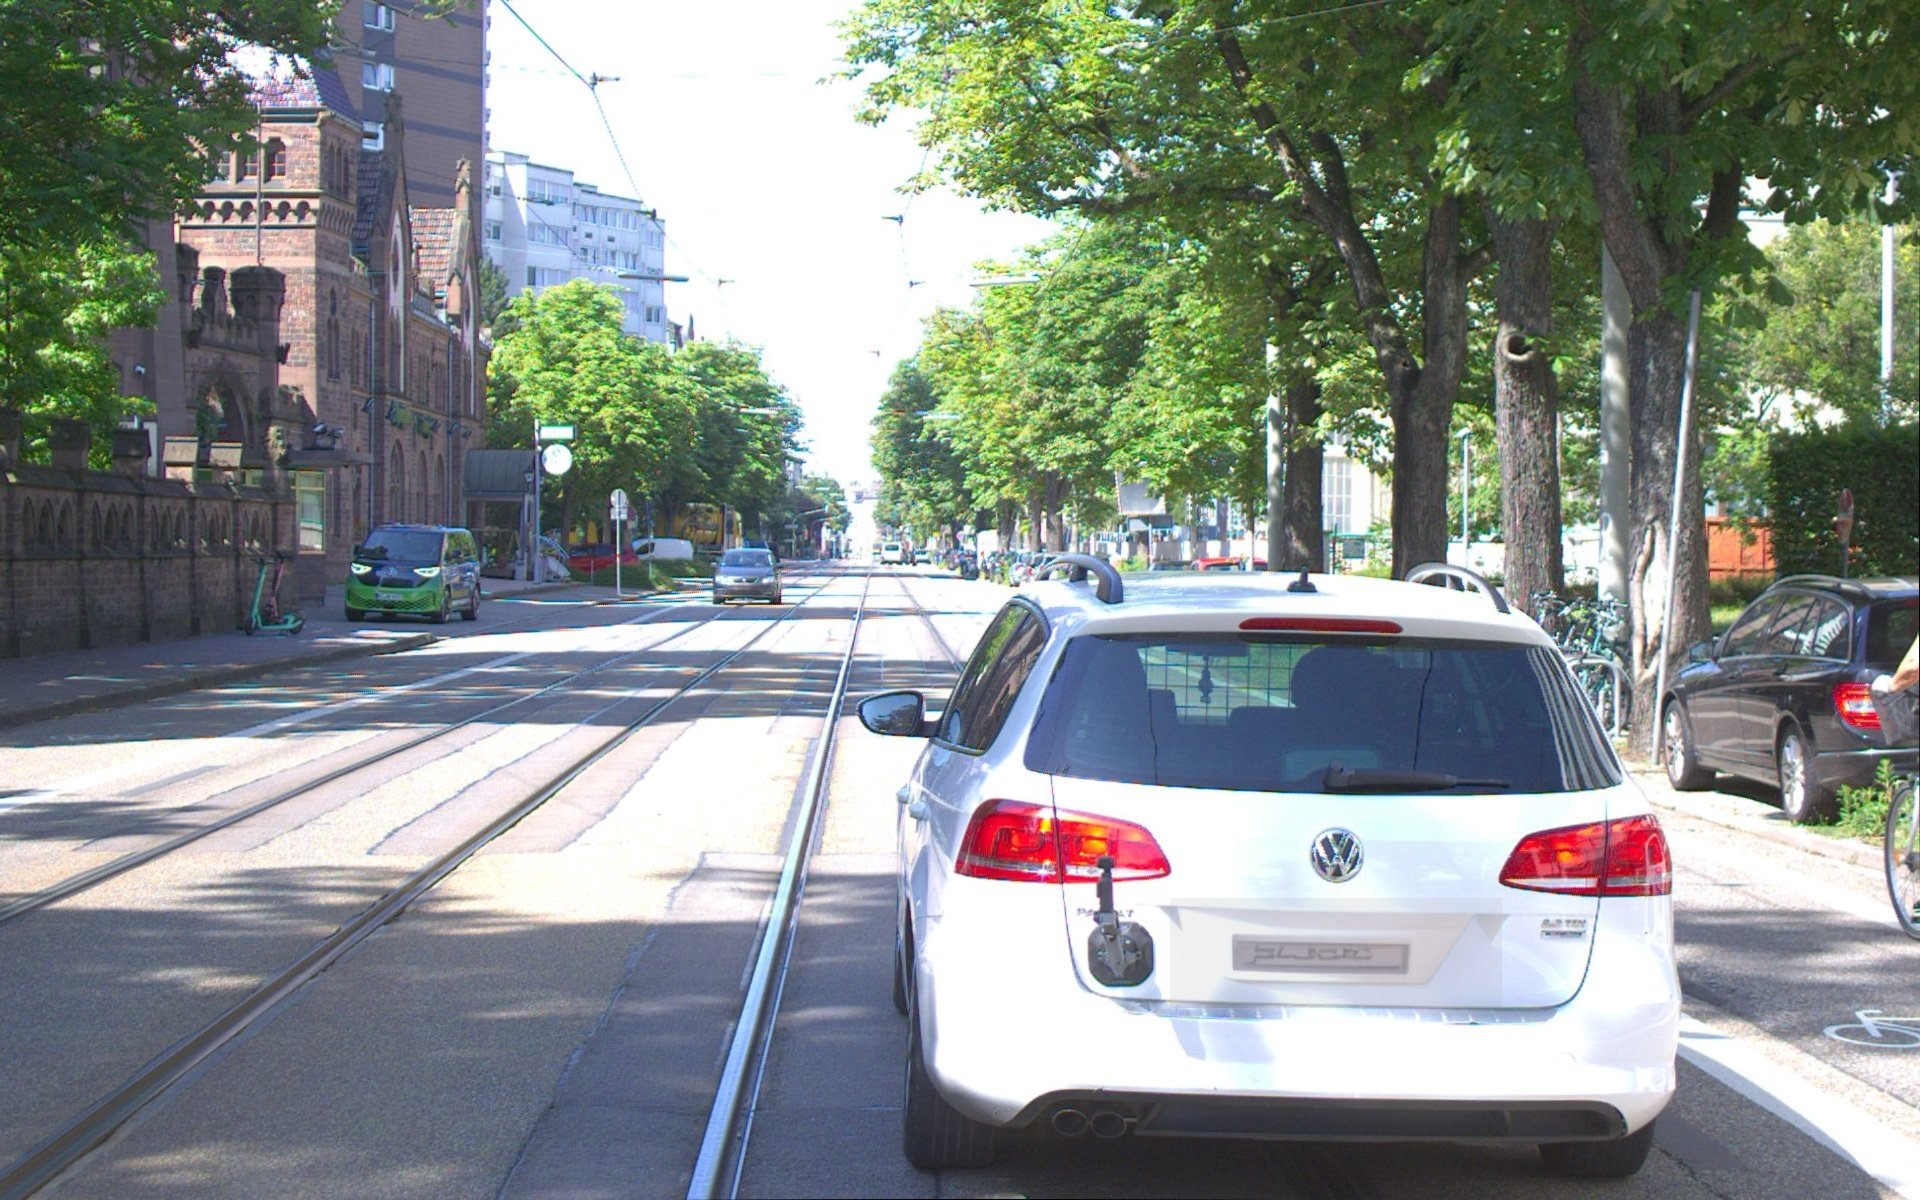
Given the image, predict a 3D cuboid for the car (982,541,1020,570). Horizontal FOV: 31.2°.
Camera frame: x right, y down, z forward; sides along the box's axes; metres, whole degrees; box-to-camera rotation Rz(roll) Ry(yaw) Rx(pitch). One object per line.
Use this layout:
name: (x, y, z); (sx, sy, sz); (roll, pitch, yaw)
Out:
car: (1.973, -2.170, 166.255); (1.713, 1.396, 3.843); (0, 1, 0)

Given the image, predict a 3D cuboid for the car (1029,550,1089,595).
car: (3.134, -0.878, 109.544); (1.713, 1.396, 3.843); (0, 1, -2)

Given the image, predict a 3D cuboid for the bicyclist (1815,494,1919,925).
bicyclist: (3.811, 0.409, 13.323); (0.785, 1.623, 0.738); (0, 1, -1)

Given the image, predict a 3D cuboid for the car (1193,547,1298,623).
car: (4.970, -0.286, 60.223); (1.713, 1.276, 3.843); (0, 1, 3)

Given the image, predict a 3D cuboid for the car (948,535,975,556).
car: (0.092, -3.658, 230.325); (1.713, 1.396, 3.843); (0, 1, 0)

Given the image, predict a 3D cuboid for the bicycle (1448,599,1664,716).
bicycle: (5.202, 0.498, 30.039); (1.787, 1.007, 0.488); (0, 1, -6)

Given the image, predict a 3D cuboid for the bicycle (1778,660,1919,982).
bicycle: (3.815, 0.811, 13.233); (0.811, 1.074, 2.012); (1, 1, -1)

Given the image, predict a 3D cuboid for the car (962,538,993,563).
car: (1.003, -2.845, 196.613); (1.713, 1.396, 3.843); (0, 1, 0)

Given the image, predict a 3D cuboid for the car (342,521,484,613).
car: (-10.875, -0.678, 68.703); (1.993, 1.751, 4.712); (0, 1, 1)

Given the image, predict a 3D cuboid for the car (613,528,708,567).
car: (-14.018, -2.465, 160.940); (3.988, 1.809, 2.000); (0, 1, -37)

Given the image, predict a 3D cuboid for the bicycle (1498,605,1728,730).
bicycle: (5.348, 0.548, 28.186); (1.787, 1.007, 0.488); (0, 1, -6)

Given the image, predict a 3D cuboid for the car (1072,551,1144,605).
car: (3.941, -0.602, 91.804); (1.713, 1.396, 3.843); (0, 1, 0)

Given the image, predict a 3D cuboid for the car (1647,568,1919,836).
car: (5.601, 0.546, 21.401); (1.664, 1.439, 4.633); (0, 1, -1)

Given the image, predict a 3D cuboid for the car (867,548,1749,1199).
car: (0.662, 0.612, 9.299); (1.753, 1.437, 4.413); (1, 0, -2)

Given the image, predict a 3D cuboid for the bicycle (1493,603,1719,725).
bicycle: (5.404, 0.532, 28.780); (1.787, 1.007, 0.488); (0, 1, -6)

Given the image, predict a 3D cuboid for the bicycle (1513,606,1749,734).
bicycle: (5.386, 0.559, 27.610); (1.787, 1.007, 0.488); (0, 1, -6)

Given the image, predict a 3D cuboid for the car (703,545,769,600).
car: (-5.785, -0.719, 89.198); (1.493, 1.380, 3.643); (0, 1, 0)

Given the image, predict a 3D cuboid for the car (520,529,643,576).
car: (-14.069, -1.763, 127.689); (4.116, 1.525, 1.933); (2, 1, -22)

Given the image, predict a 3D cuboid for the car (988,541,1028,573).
car: (2.159, -1.937, 155.024); (1.713, 1.396, 3.843); (0, 1, 0)

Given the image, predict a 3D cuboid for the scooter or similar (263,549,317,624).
scooter or similar: (-10.855, -0.227, 55.705); (0.423, 1.196, 1.142); (0, 1, 14)

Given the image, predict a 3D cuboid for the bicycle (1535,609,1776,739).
bicycle: (5.460, 0.578, 27.031); (1.787, 1.007, 0.488); (0, 1, -6)

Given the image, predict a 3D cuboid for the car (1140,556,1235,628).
car: (4.596, -0.179, 69.987); (1.713, 1.396, 3.843); (0, 1, 1)

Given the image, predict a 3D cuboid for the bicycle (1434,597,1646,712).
bicycle: (5.151, 0.483, 30.558); (1.787, 1.007, 0.488); (0, 1, -6)

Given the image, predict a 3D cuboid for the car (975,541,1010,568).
car: (1.658, -2.331, 175.498); (1.713, 1.396, 3.843); (0, 1, 0)

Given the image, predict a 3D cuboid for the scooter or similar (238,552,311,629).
scooter or similar: (-10.406, -0.150, 52.239); (0.405, 1.151, 1.141); (1, 1, 33)

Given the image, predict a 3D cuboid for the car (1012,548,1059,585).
car: (2.965, -1.330, 135.281); (1.713, 1.396, 3.843); (0, 1, 0)
